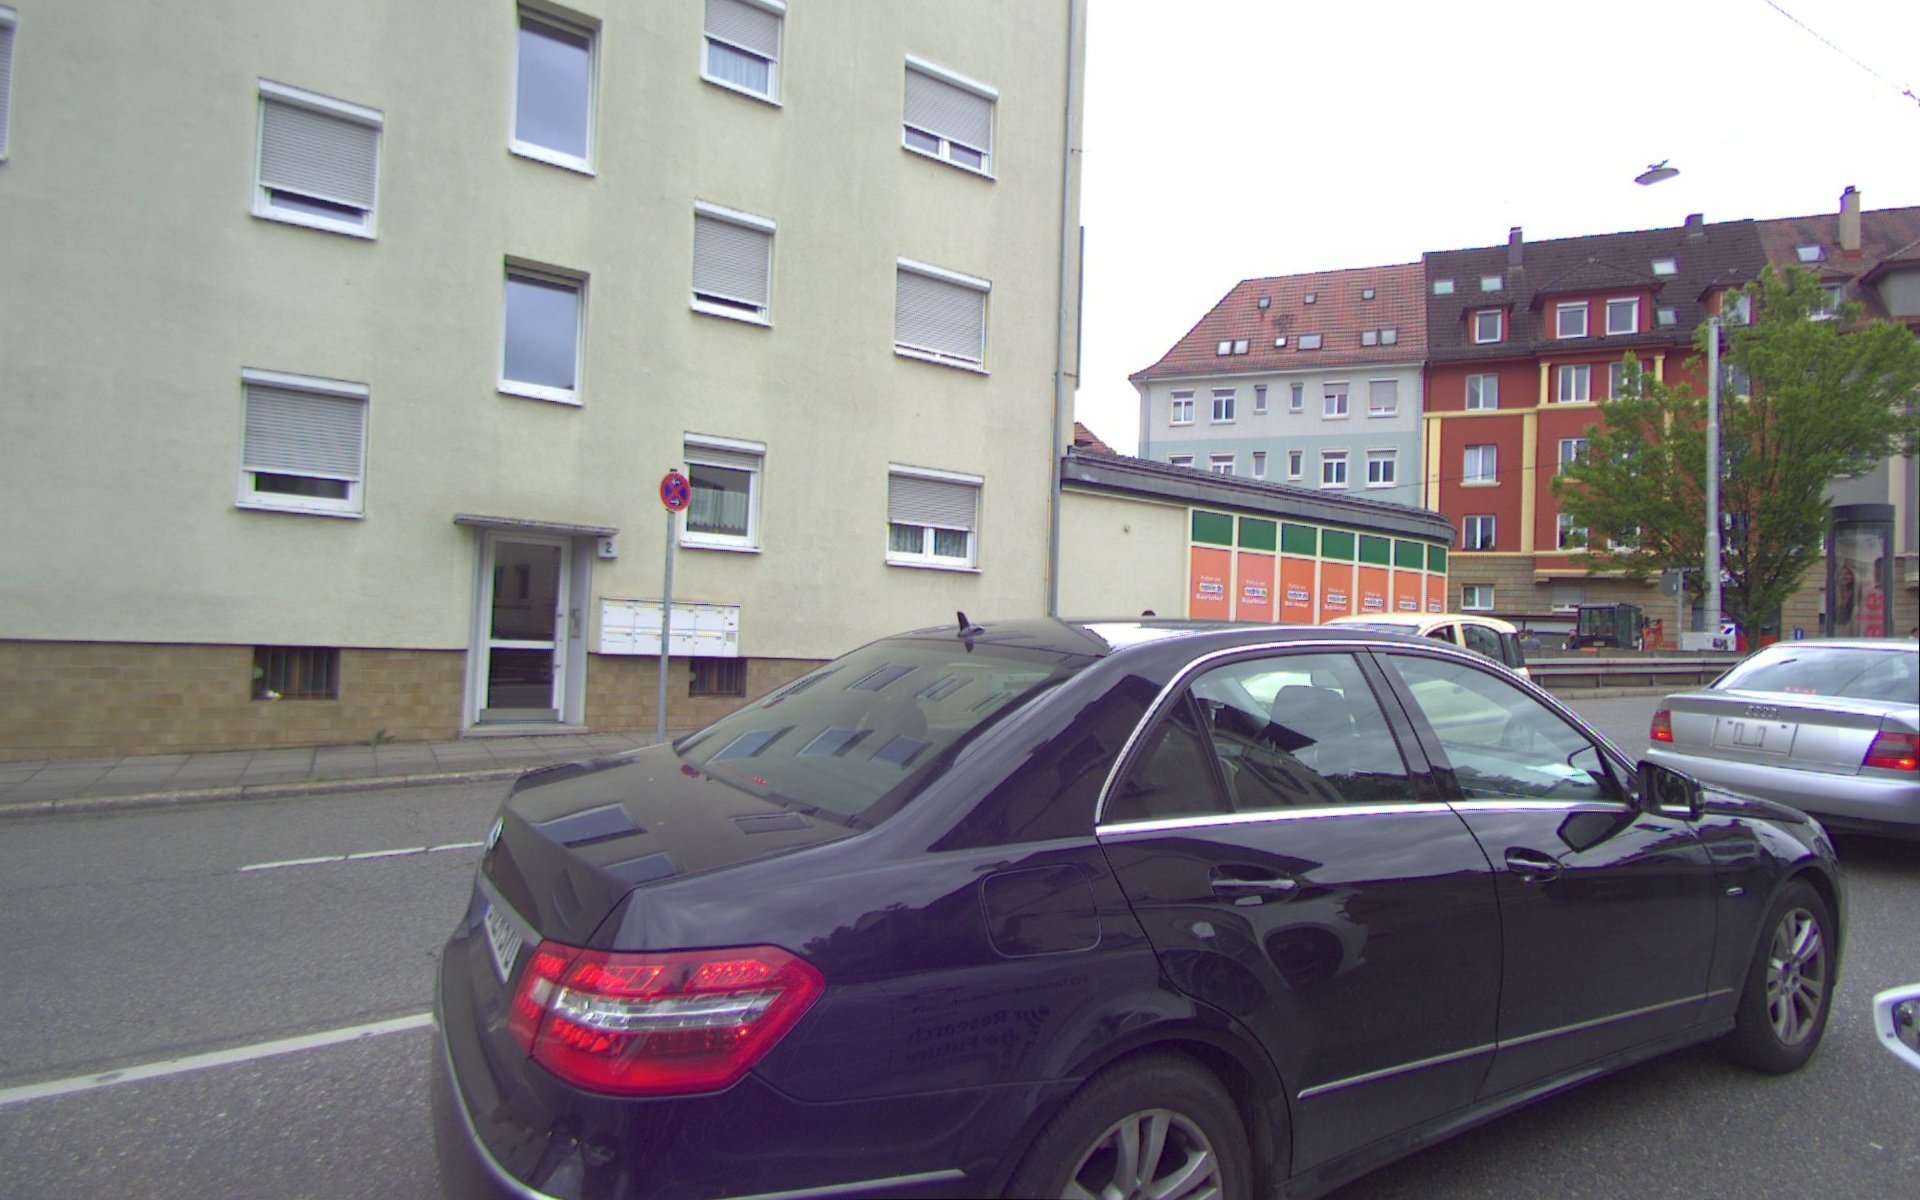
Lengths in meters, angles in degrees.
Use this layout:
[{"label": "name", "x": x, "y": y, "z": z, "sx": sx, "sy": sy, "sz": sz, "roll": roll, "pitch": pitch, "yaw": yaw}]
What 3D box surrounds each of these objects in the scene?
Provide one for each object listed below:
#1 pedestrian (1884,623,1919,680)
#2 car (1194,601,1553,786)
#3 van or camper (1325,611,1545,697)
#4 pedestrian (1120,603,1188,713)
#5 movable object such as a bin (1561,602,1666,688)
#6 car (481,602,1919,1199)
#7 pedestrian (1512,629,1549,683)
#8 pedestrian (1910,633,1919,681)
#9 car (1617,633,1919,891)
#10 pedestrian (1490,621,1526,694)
[{"label": "pedestrian", "x": 26.882, "y": 1.460, "z": 28.436, "sx": 0.724, "sy": 1.567, "sz": 0.795, "roll": 1, "pitch": 0, "yaw": -2}, {"label": "car", "x": 4.130, "y": 0.850, "z": 9.946, "sx": 3.420, "sy": 1.537, "sz": 1.590, "roll": 2, "pitch": -2, "yaw": -31}, {"label": "van or camper", "x": 14.536, "y": 1.574, "z": 31.017, "sx": 5.894, "sy": 2.369, "sz": 2.686, "roll": 0, "pitch": -1, "yaw": 26}, {"label": "pedestrian", "x": 3.012, "y": 0.877, "z": 15.605, "sx": 0.770, "sy": 1.658, "sz": 0.684, "roll": 1, "pitch": -1, "yaw": -33}, {"label": "movable object such as a bin", "x": 16.555, "y": 1.109, "z": 25.381, "sx": 3.510, "sy": 2.040, "sz": 1.363, "roll": 2, "pitch": -2, "yaw": -42}, {"label": "car", "x": 1.114, "y": 0.775, "z": 3.384, "sx": 4.785, "sy": 1.448, "sz": 1.984, "roll": 1, "pitch": 0, "yaw": -30}, {"label": "pedestrian", "x": 14.804, "y": 1.448, "z": 26.076, "sx": 0.613, "sy": 1.381, "sz": 0.602, "roll": 0, "pitch": -1, "yaw": 4}, {"label": "pedestrian", "x": 27.557, "y": 1.622, "z": 28.545, "sx": 0.573, "sy": 1.356, "sz": 0.576, "roll": 1, "pitch": -1, "yaw": -3}, {"label": "car", "x": 6.706, "y": 0.938, "z": 7.057, "sx": 4.072, "sy": 1.383, "sz": 1.624, "roll": 1, "pitch": -2, "yaw": -25}, {"label": "pedestrian", "x": 15.549, "y": 1.620, "z": 28.530, "sx": 0.810, "sy": 2.040, "sz": 0.680, "roll": 0, "pitch": 0, "yaw": 22}]
